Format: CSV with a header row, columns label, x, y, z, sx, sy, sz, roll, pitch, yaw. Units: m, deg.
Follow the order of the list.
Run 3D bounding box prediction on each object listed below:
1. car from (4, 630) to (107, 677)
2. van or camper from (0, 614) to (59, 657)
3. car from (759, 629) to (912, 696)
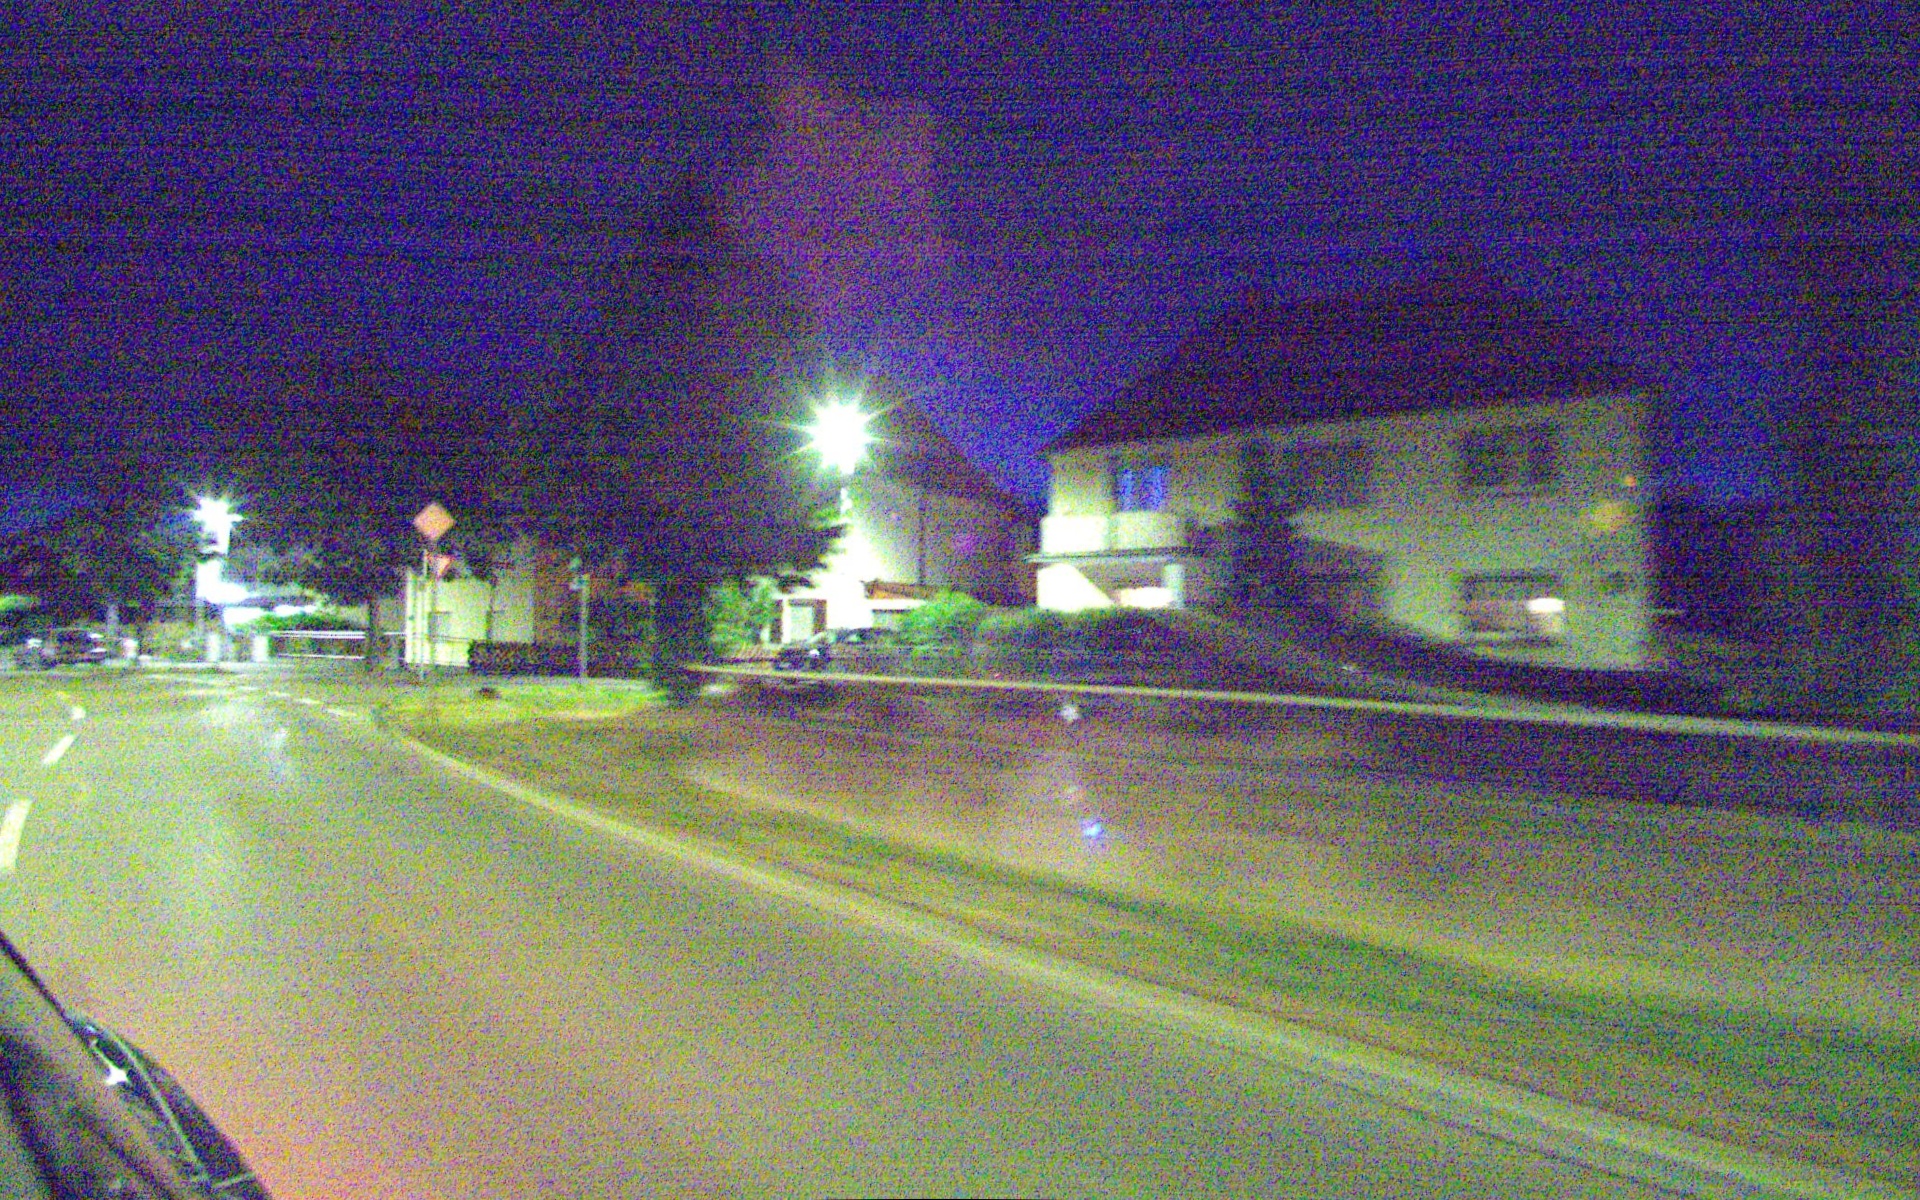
label,x,y,z,sx,sy,sz,roll,pitch,yaw
car,-32.640,1.907,36.504,3.972,1.603,1.660,-2,-3,31
van or camper,-62.345,2.391,67.027,5.903,2.768,2.061,-2,-3,29
car,-3.255,1.644,26.791,3.667,1.639,1.785,3,-4,-42
